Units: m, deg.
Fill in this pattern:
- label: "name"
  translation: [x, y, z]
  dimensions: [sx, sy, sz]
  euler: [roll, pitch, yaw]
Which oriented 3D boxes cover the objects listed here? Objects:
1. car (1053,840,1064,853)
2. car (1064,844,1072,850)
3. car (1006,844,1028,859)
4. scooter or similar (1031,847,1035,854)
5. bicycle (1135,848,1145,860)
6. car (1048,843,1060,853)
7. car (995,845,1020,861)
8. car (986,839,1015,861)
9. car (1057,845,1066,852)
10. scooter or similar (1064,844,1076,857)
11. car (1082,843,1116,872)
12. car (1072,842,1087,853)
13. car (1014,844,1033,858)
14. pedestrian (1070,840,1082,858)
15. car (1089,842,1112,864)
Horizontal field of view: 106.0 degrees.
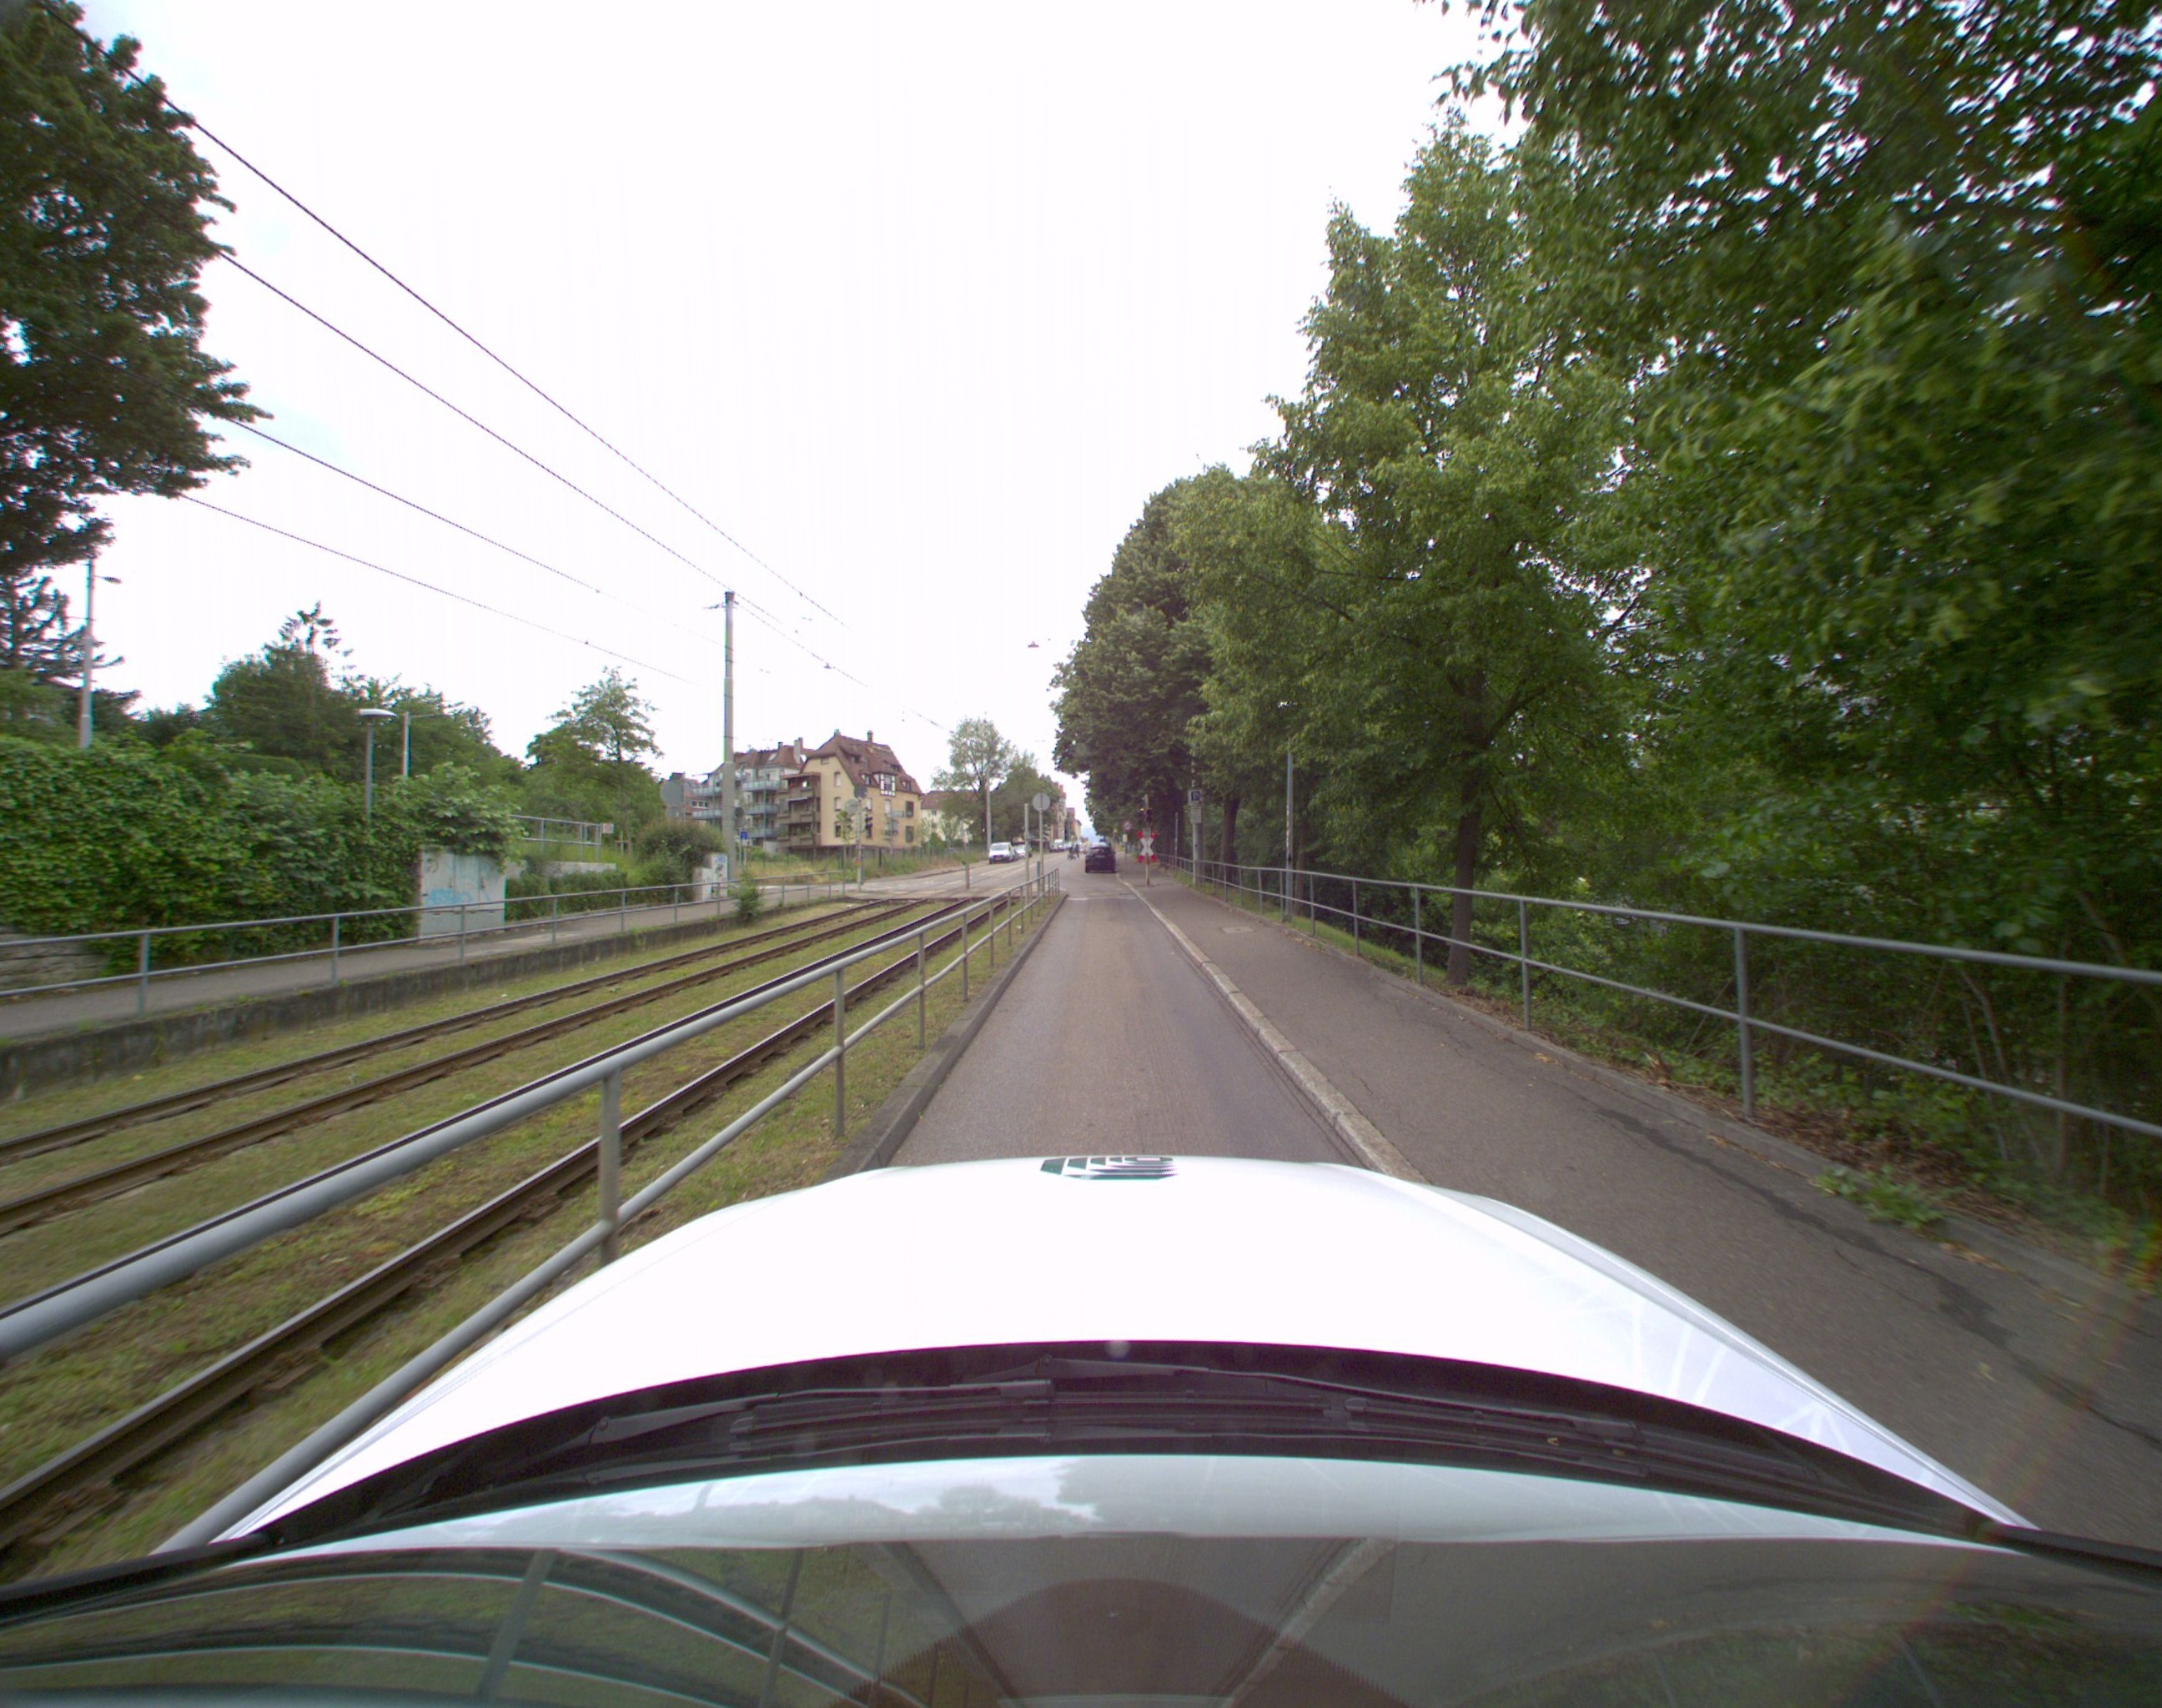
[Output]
- label: "car"
  translation: [-4.743, -1.579, 170.221]
  dimensions: [2.224, 2.764, 5.798]
  euler: [0, 0, 0]
- label: "car"
  translation: [-3.386, -1.843, 214.054]
  dimensions: [1.917, 1.601, 4.002]
  euler: [0, 0, 2]
- label: "car"
  translation: [-6.960, -0.239, 89.469]
  dimensions: [1.878, 1.526, 4.665]
  euler: [-2, 0, 2]
- label: "scooter or similar"
  translation: [-8.890, -0.599, 150.653]
  dimensions: [0.688, 1.339, 1.640]
  euler: [0, 0, 3]
- label: "bicycle"
  translation: [4.926, -0.019, 67.840]
  dimensions: [0.427, 0.976, 1.790]
  euler: [0, 0, -8]
- label: "car"
  translation: [-5.090, -1.095, 155.728]
  dimensions: [1.985, 1.808, 4.003]
  euler: [0, 0, 3]
- label: "car"
  translation: [-7.313, -0.128, 80.943]
  dimensions: [1.889, 1.432, 4.513]
  euler: [-2, 1, 1]
- label: "car"
  translation: [-7.396, -0.363, 75.230]
  dimensions: [2.029, 1.881, 4.885]
  euler: [-3, 0, 0]
- label: "car"
  translation: [-4.274, -1.230, 180.533]
  dimensions: [1.987, 1.600, 4.311]
  euler: [0, 0, -1]
- label: "scooter or similar"
  translation: [-1.080, -0.320, 78.649]
  dimensions: [0.829, 1.196, 0.812]
  euler: [-1, 0, 43]
- label: "car"
  translation: [1.114, 0.170, 49.243]
  dimensions: [1.896, 1.615, 4.604]
  euler: [0, 1, 3]
- label: "car"
  translation: [-0.199, -0.845, 111.823]
  dimensions: [1.986, 1.498, 4.313]
  euler: [0, 0, 1]
- label: "car"
  translation: [-6.730, -0.387, 95.183]
  dimensions: [1.717, 1.579, 4.182]
  euler: [-2, 1, 1]
- label: "pedestrian"
  translation: [-0.471, -0.470, 78.081]
  dimensions: [0.905, 1.628, 0.812]
  euler: [-1, 0, 43]
- label: "car"
  translation: [1.546, -0.113, 65.088]
  dimensions: [1.720, 1.631, 4.088]
  euler: [3, 1, 0]
